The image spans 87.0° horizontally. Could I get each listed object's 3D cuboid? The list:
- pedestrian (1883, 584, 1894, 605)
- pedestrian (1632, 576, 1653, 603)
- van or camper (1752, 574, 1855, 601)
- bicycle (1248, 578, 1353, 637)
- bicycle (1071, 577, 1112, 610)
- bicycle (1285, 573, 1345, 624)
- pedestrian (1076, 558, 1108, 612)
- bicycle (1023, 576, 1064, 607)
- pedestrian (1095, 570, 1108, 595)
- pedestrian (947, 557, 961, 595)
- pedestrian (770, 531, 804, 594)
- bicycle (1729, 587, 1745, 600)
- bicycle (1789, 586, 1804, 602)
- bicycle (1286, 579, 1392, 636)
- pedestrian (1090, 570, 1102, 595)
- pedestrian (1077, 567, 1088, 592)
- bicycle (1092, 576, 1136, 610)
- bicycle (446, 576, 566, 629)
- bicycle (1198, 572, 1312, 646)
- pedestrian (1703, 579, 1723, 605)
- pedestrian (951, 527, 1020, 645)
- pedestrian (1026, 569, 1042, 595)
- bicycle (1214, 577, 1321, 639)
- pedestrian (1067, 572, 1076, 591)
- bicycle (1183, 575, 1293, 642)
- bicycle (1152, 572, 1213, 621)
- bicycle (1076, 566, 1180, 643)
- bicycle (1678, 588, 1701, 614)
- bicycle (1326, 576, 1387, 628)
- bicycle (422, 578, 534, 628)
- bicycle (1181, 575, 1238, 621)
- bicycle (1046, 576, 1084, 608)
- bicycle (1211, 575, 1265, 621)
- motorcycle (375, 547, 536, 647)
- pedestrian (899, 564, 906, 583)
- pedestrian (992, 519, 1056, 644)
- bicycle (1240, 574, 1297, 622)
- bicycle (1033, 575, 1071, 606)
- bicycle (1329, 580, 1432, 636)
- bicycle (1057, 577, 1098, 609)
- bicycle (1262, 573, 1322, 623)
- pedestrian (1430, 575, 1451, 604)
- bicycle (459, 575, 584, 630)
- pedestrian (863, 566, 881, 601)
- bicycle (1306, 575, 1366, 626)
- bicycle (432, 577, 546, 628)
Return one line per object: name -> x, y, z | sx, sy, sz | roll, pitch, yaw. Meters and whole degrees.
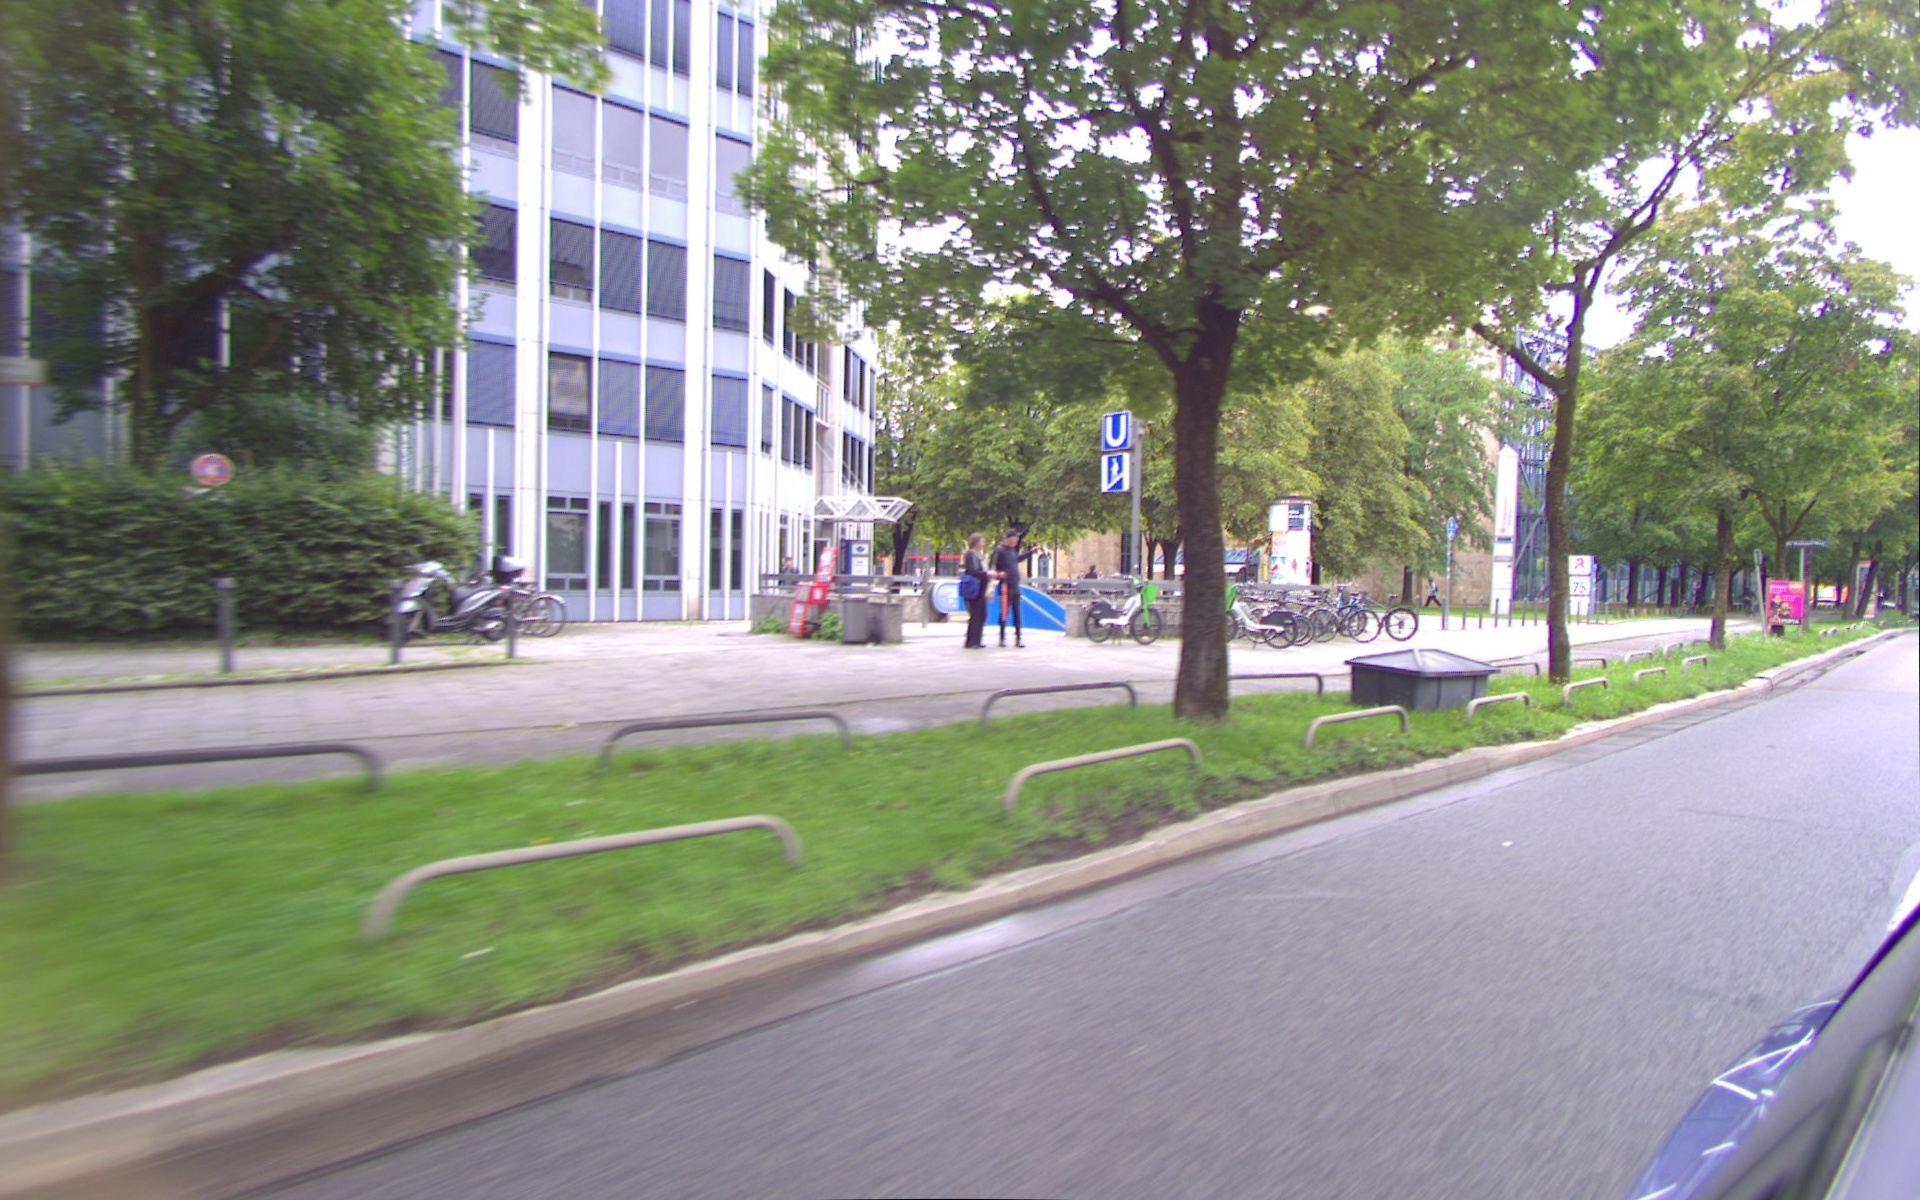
pedestrian -> 78.370, -0.466, 85.399 | 0.649, 1.743, 0.527 | -1, 4, -42
pedestrian -> 43.745, -0.691, 64.910 | 0.845, 1.665, 0.740 | 0, 3, -30
van or camper -> 119.850, -1.812, 143.994 | 3.264, 3.597, 10.887 | 0, 2, -39
bicycle -> 7.106, 0.147, 21.172 | 1.922, 1.078, 0.579 | 4, 3, 9
bicycle -> 5.366, -0.276, 41.063 | 0.508, 1.276, 2.142 | 2, 2, 42
bicycle -> 8.812, -0.047, 25.102 | 1.920, 1.203, 0.488 | 0, 2, -41
pedestrian -> 4.476, -0.523, 34.320 | 0.754, 1.794, 0.690 | 1, 1, -27
bicycle -> 3.553, -0.379, 42.996 | 0.552, 1.276, 2.142 | 2, 2, 42
pedestrian -> 9.674, -1.205, 69.126 | 0.582, 1.699, 0.563 | 1, 1, -39
pedestrian -> -0.244, -0.976, 40.683 | 0.386, 1.510, 0.385 | 1, 1, -30
pedestrian -> -4.765, -1.031, 27.843 | 0.689, 1.699, 0.651 | 2, 1, 14
bicycle -> 63.658, -0.535, 82.892 | 2.027, 0.952, 0.571 | -1, 2, -39
bicycle -> 67.285, -0.498, 81.426 | 2.103, 1.207, 0.512 | -1, 2, -39
bicycle -> 8.196, 0.150, 21.951 | 2.007, 1.102, 0.604 | 3, 4, 9
pedestrian -> 9.176, -1.200, 68.354 | 0.581, 1.699, 0.504 | 1, 1, -17
pedestrian -> 8.277, -1.388, 68.366 | 0.584, 1.699, 0.501 | 2, 1, 14
bicycle -> 6.075, -0.278, 39.897 | 0.606, 1.276, 2.023 | 2, 2, 44
bicycle -> -7.922, 0.055, 17.705 | 1.802, 0.864, 0.553 | 2, 1, -42
bicycle -> 5.482, 0.151, 18.819 | 1.930, 1.203, 0.593 | 5, 2, 19
pedestrian -> 50.023, -0.548, 67.235 | 0.632, 1.665, 0.740 | 1, 3, -6
pedestrian -> 0.377, -0.211, 15.367 | 0.734, 1.735, 0.787 | 1, 1, -24
pedestrian -> 4.956, -1.204, 67.796 | 0.850, 1.699, 0.588 | 1, 1, -38
bicycle -> 6.181, 0.158, 20.445 | 1.922, 1.096, 0.596 | 4, 2, 9
pedestrian -> 7.781, -1.275, 70.553 | 0.418, 1.299, 0.507 | 2, 1, 38
bicycle -> 5.397, 0.153, 19.727 | 1.922, 1.122, 0.579 | 5, 2, 8
bicycle -> 6.243, -0.118, 28.311 | 0.508, 1.310, 2.441 | 2, 2, 42
bicycle -> 2.915, 0.094, 17.480 | 1.825, 1.241, 0.532 | 2, 2, -34
bicycle -> 36.800, 0.023, 51.050 | 1.889, 1.266, 0.621 | 0, 2, -44
bicycle -> 9.522, 0.041, 24.258 | 1.920, 1.203, 0.488 | 0, 2, -41
bicycle -> -8.821, 0.058, 18.562 | 1.743, 0.864, 0.559 | 2, 1, -42
bicycle -> 6.887, -0.067, 27.879 | 0.577, 1.203, 2.109 | 2, 2, 42
bicycle -> 4.361, -0.321, 41.928 | 0.508, 1.276, 1.991 | 2, 2, 42
bicycle -> 7.597, -0.051, 27.638 | 0.511, 1.203, 2.109 | 2, 2, 42
motorcycle -> -7.239, -0.058, 14.616 | 0.547, 1.335, 2.046 | 2, 2, 37
pedestrian -> -5.063, -2.337, 88.915 | 0.503, 1.588, 0.421 | 1, 1, -27
pedestrian -> 1.010, -0.299, 16.003 | 0.734, 1.923, 0.654 | 1, 1, -29
bicycle -> 8.055, -0.048, 26.381 | 1.920, 1.203, 0.446 | 0, 2, -41
bicycle -> 3.853, -0.392, 42.438 | 0.508, 1.276, 1.925 | 2, 2, 42
bicycle -> 9.489, 0.164, 22.910 | 1.998, 1.112, 0.579 | 3, 4, 8
bicycle -> 4.856, -0.290, 41.631 | 0.508, 1.276, 2.142 | 2, 2, 42
bicycle -> 8.385, -0.058, 25.536 | 1.920, 1.203, 0.488 | 0, 2, -41
pedestrian -> 27.578, -0.599, 58.075 | 0.861, 1.666, 0.573 | 1, 1, -6
bicycle -> -7.407, 0.052, 17.136 | 1.802, 0.864, 0.683 | 2, 1, -42
pedestrian -> -4.343, -0.806, 49.730 | 0.614, 1.679, 0.591 | 0, 1, -40
bicycle -> 9.177, 0.002, 24.648 | 1.920, 1.203, 0.488 | 0, 2, -41
bicycle -> -8.421, 0.057, 18.121 | 1.743, 0.864, 0.559 | 2, 1, -42
